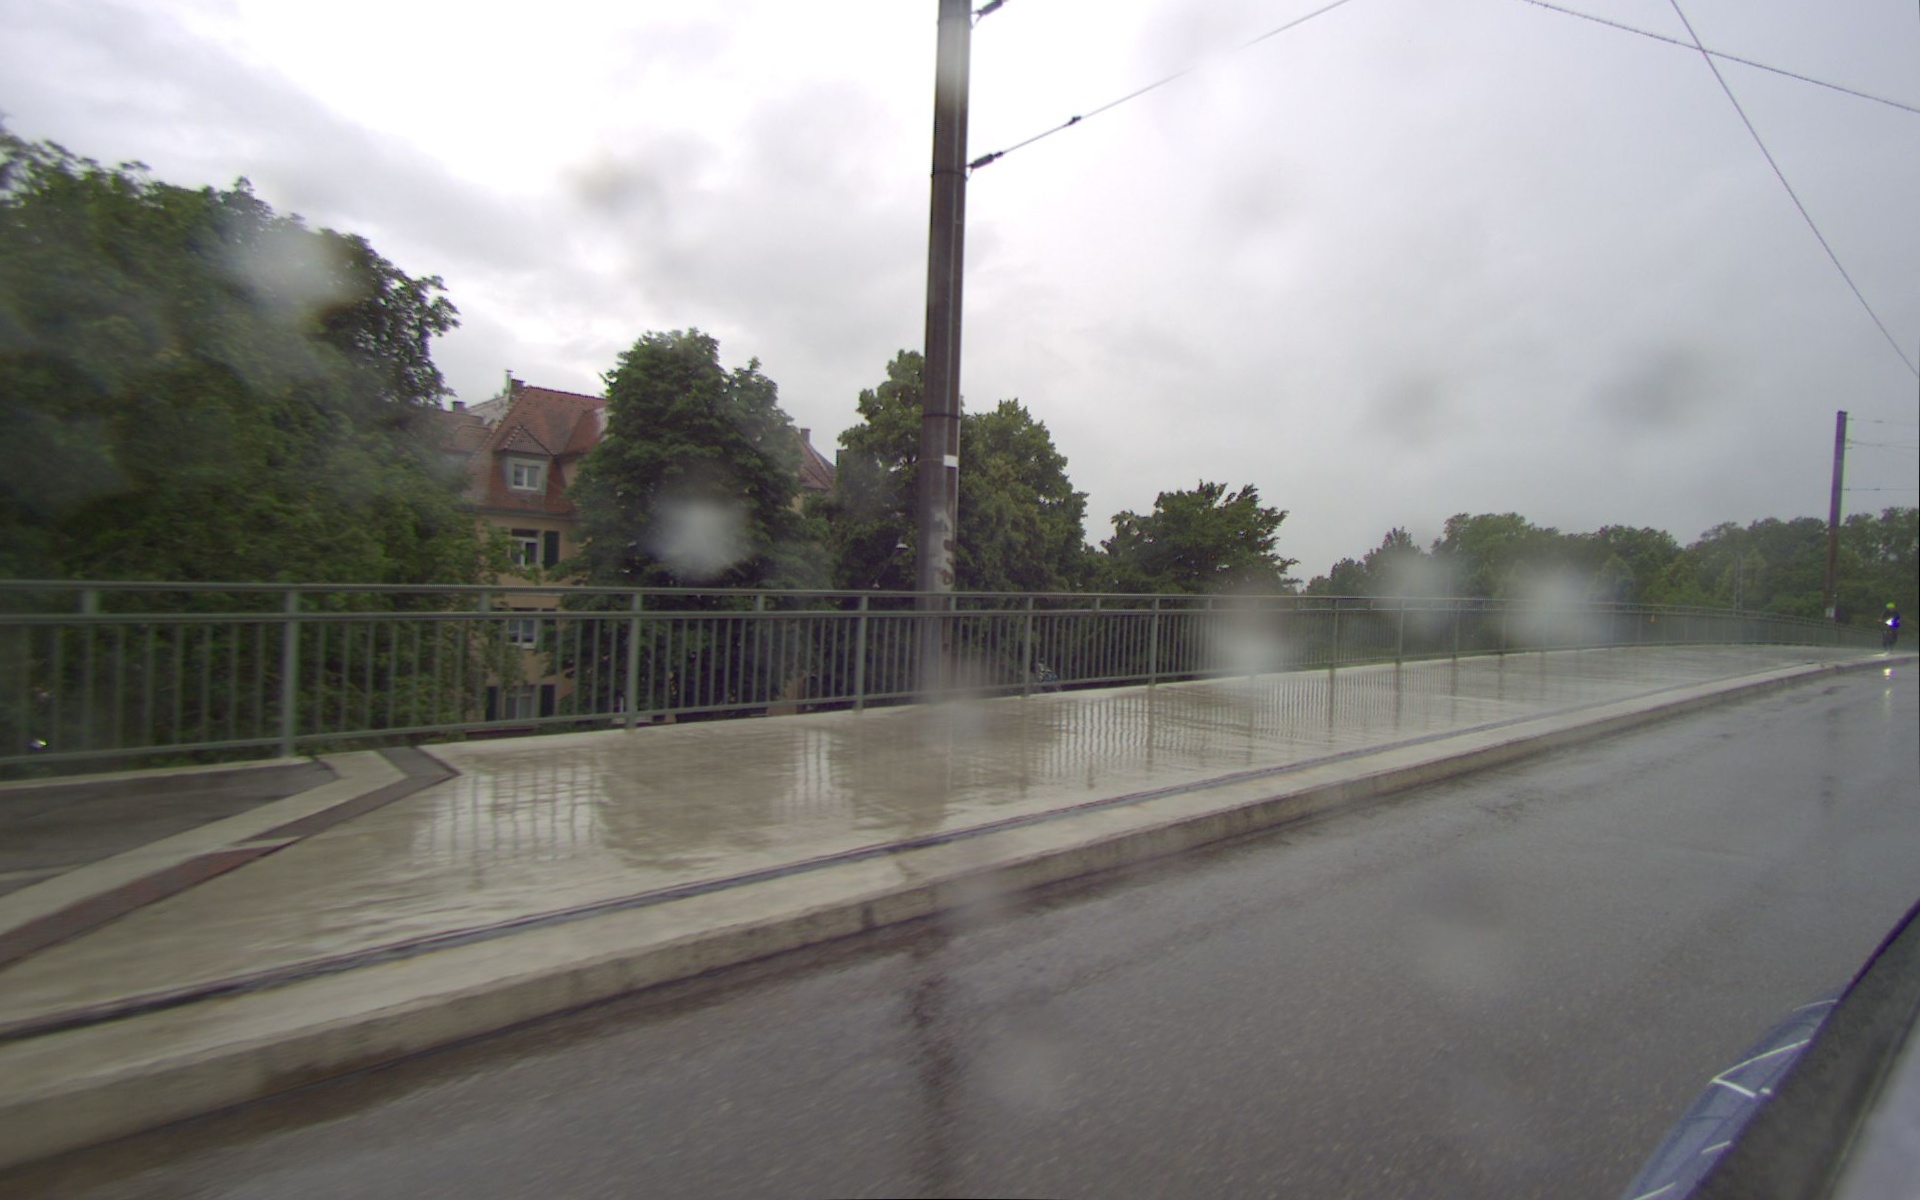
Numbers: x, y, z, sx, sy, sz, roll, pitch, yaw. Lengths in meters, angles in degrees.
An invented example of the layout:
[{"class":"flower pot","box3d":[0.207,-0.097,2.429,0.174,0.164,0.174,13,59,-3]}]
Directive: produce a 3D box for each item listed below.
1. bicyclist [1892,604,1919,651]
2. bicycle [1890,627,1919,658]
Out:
[{"class":"bicyclist","box3d":[36.243,1.034,38.721,0.932,1.786,0.726,1,-1,-41]},{"class":"bicycle","box3d":[36.189,1.639,38.682,2.129,1.143,0.724,2,-2,-41]}]
